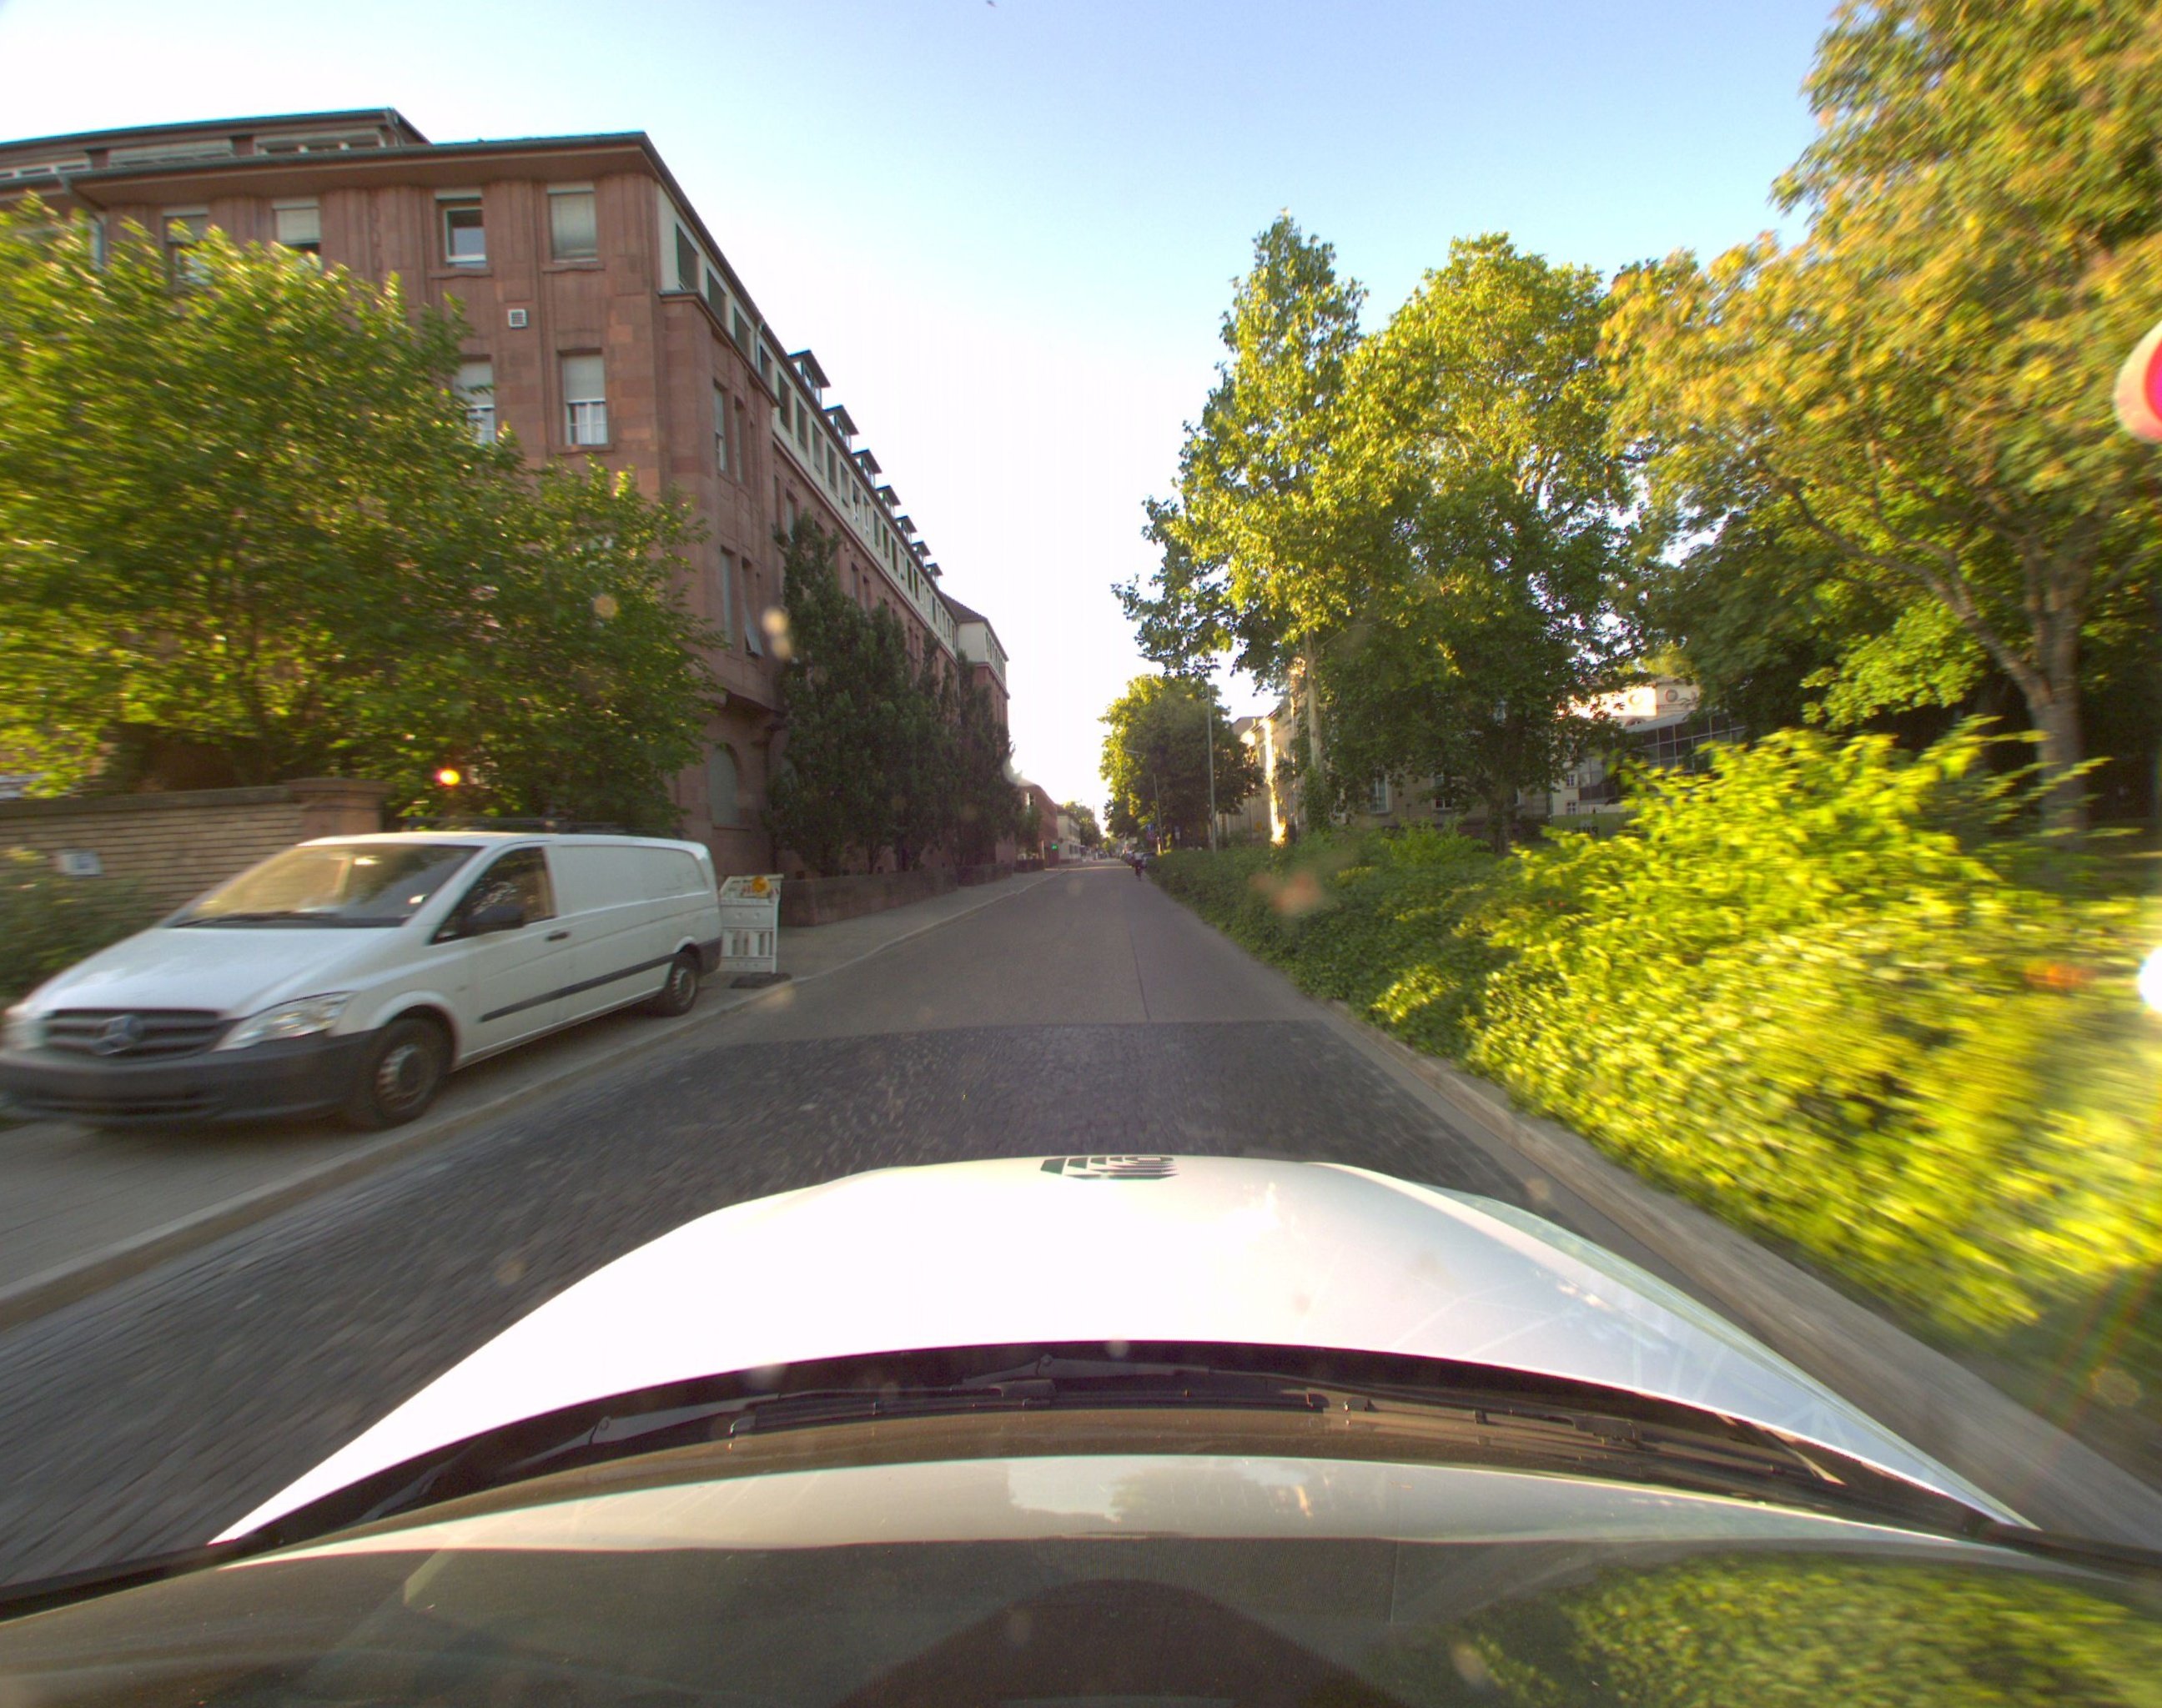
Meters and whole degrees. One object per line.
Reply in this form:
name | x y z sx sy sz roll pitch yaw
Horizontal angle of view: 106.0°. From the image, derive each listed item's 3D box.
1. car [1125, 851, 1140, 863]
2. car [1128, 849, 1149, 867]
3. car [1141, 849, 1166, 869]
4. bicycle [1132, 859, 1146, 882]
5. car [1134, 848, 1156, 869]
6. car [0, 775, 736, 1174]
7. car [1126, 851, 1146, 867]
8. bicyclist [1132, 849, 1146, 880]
car | 7.355 0.411 116.428 1.986 1.585 4.001 -4 0 1
car | 5.592 0.377 79.611 1.710 1.537 4.048 -3 0 0
car | 5.848 0.430 65.970 1.680 1.447 3.671 -6 -1 0
bicycle | 3.183 0.873 44.650 0.636 1.193 1.876 -1 0 0
car | 5.594 0.357 71.741 1.709 1.712 4.476 -3 0 3
car | -5.055 0.672 6.916 1.876 2.013 5.226 -3 -1 0
car | 6.430 0.613 95.301 1.986 1.706 4.001 -4 0 1
bicyclist | 3.172 0.549 44.660 0.637 1.667 0.843 -1 0 0
